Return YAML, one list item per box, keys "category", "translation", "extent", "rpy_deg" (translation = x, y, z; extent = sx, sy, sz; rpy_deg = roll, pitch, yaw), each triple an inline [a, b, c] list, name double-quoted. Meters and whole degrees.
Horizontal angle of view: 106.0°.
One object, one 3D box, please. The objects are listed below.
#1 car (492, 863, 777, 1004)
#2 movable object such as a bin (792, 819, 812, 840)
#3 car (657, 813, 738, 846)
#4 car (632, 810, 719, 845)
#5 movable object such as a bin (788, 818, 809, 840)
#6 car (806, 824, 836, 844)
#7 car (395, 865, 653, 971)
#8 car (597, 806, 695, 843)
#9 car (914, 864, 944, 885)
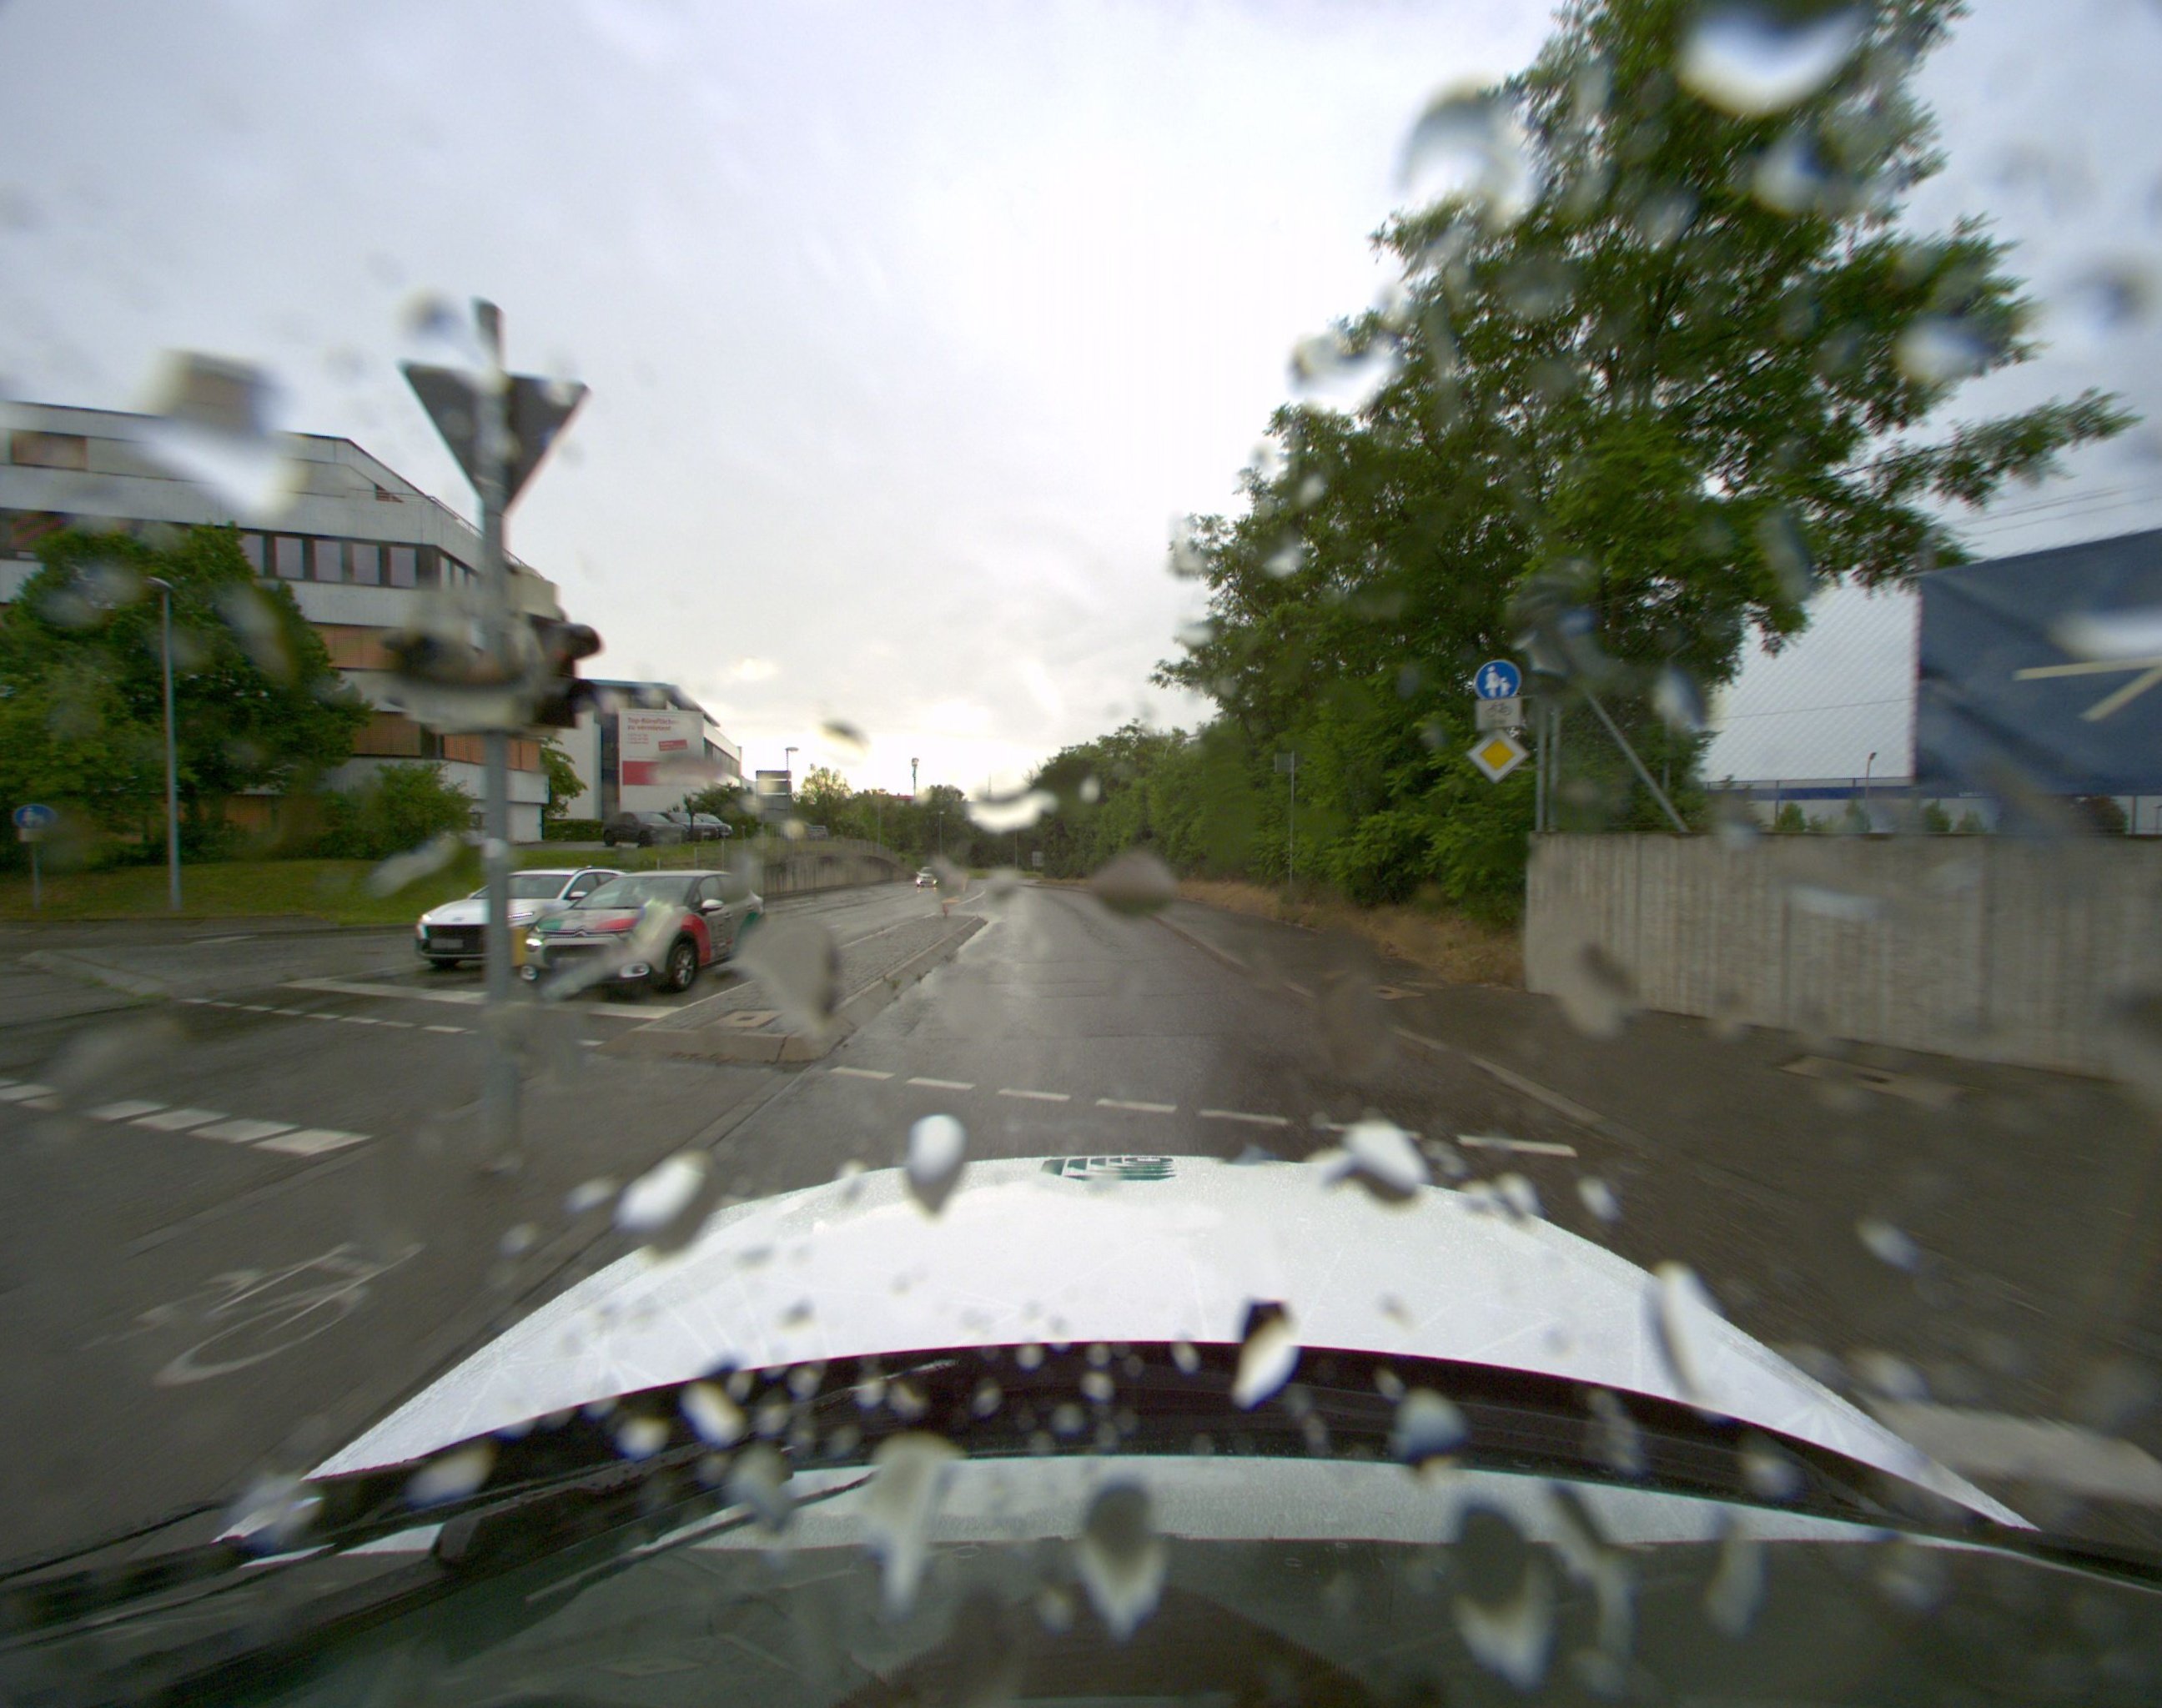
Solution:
- category: "car"
  translation: [-5.640, 0.893, 10.923]
  extent: [1.656, 1.494, 3.998]
  rpy_deg: [0, 0, -1]
- category: "movable object such as a bin"
  translation: [-19.742, -1.733, 57.638]
  extent: [1.084, 1.437, 1.441]
  rpy_deg: [1, -1, -10]
- category: "car"
  translation: [-20.393, -1.280, 43.321]
  extent: [3.949, 1.586, 1.914]
  rpy_deg: [0, -1, 29]
- category: "car"
  translation: [-20.072, -1.262, 40.328]
  extent: [3.949, 1.586, 1.914]
  rpy_deg: [0, -1, 29]
- category: "movable object such as a bin"
  translation: [-19.483, -1.711, 56.180]
  extent: [1.084, 1.437, 1.441]
  rpy_deg: [1, -1, -10]
- category: "car"
  translation: [-21.333, -1.634, 66.958]
  extent: [1.827, 1.442, 3.986]
  rpy_deg: [1, -1, -10]
- category: "car"
  translation: [-9.262, 0.972, 14.005]
  extent: [1.715, 1.494, 3.998]
  rpy_deg: [0, 0, -1]
- category: "car"
  translation: [-19.886, -1.317, 37.258]
  extent: [3.951, 1.586, 1.913]
  rpy_deg: [1, -1, 25]
- category: "car"
  translation: [-11.280, 1.486, 60.598]
  extent: [1.649, 1.429, 3.789]
  rpy_deg: [0, 0, -3]
